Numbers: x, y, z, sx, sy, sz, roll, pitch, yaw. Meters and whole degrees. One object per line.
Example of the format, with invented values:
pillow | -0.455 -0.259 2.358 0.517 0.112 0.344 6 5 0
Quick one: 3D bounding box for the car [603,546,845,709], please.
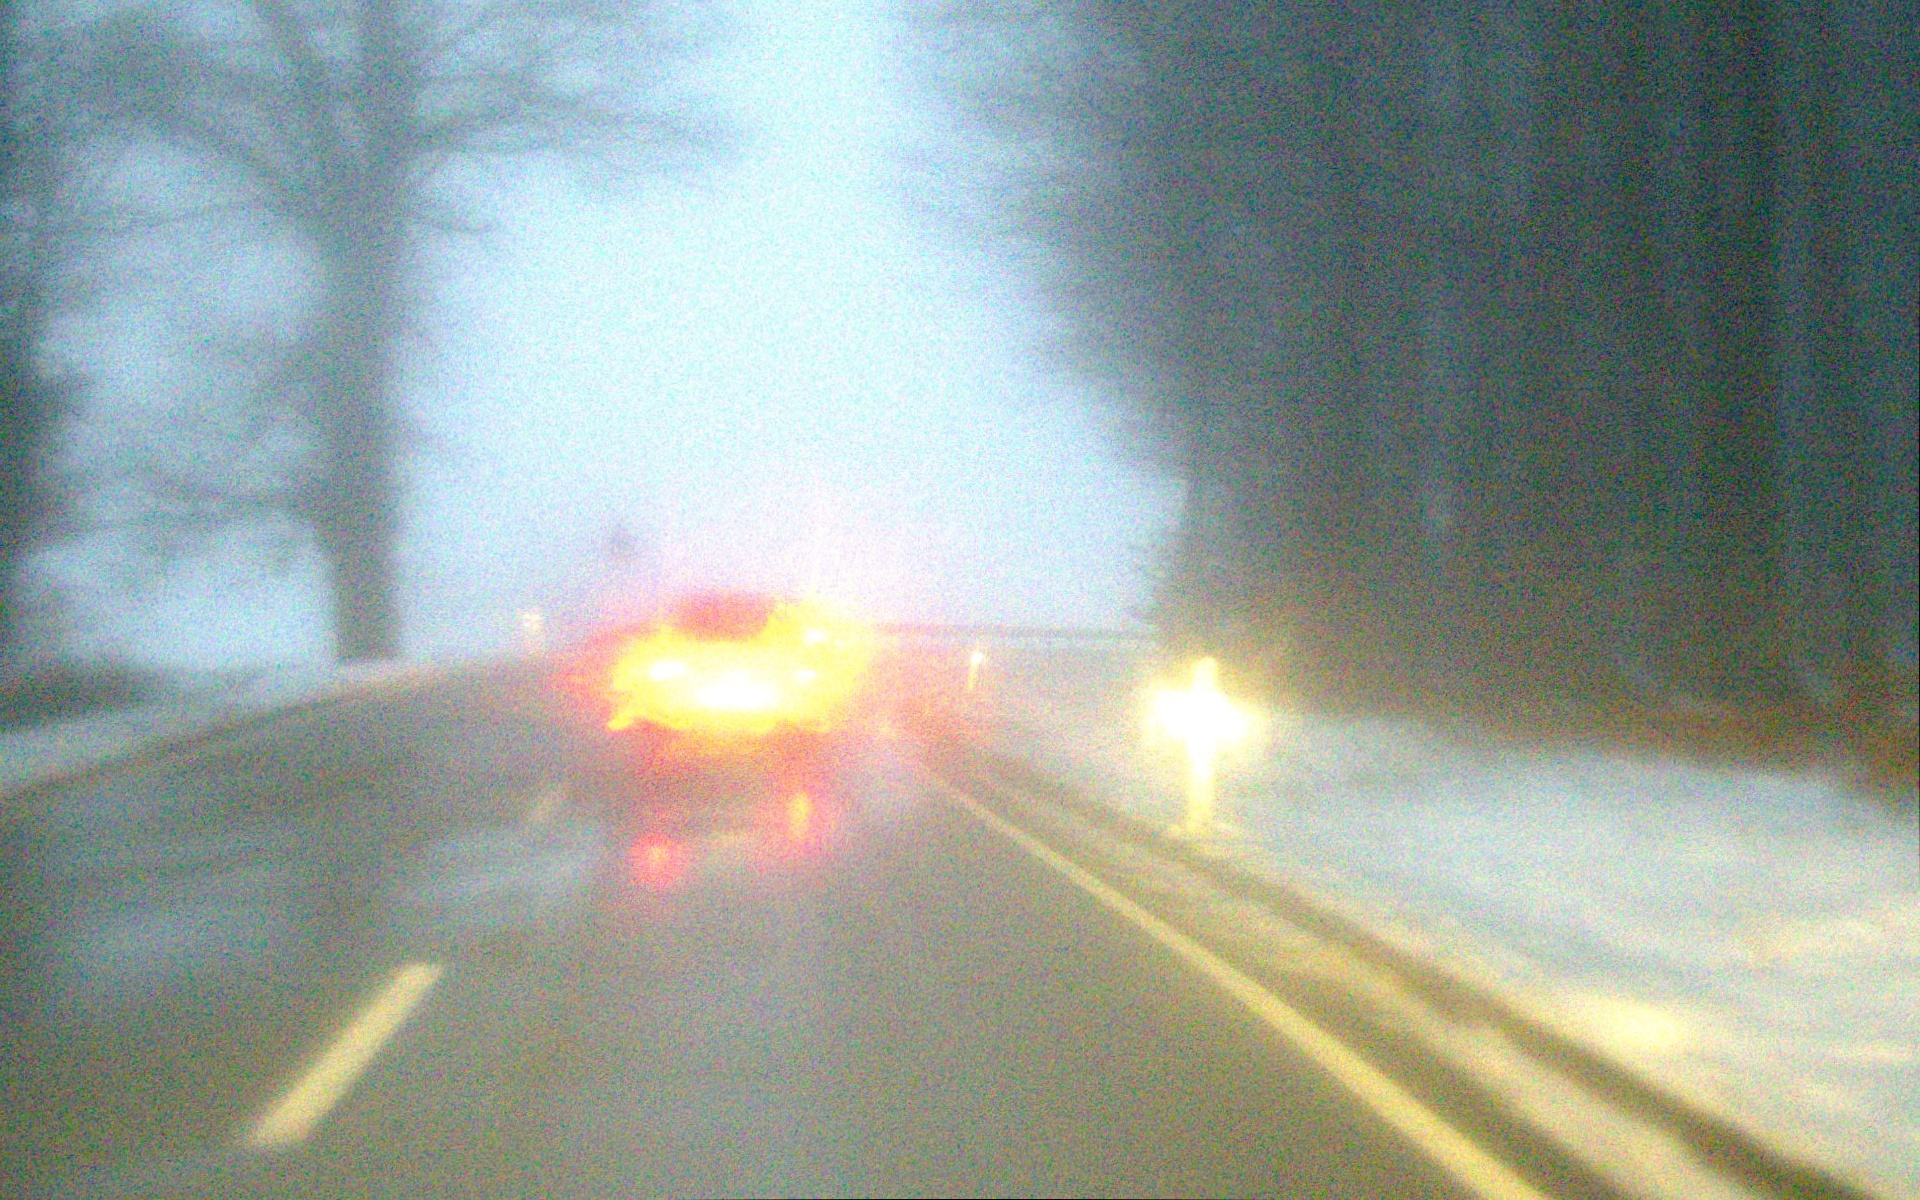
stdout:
car | -2.288 0.218 32.372 1.945 1.376 4.001 1 1 -8
